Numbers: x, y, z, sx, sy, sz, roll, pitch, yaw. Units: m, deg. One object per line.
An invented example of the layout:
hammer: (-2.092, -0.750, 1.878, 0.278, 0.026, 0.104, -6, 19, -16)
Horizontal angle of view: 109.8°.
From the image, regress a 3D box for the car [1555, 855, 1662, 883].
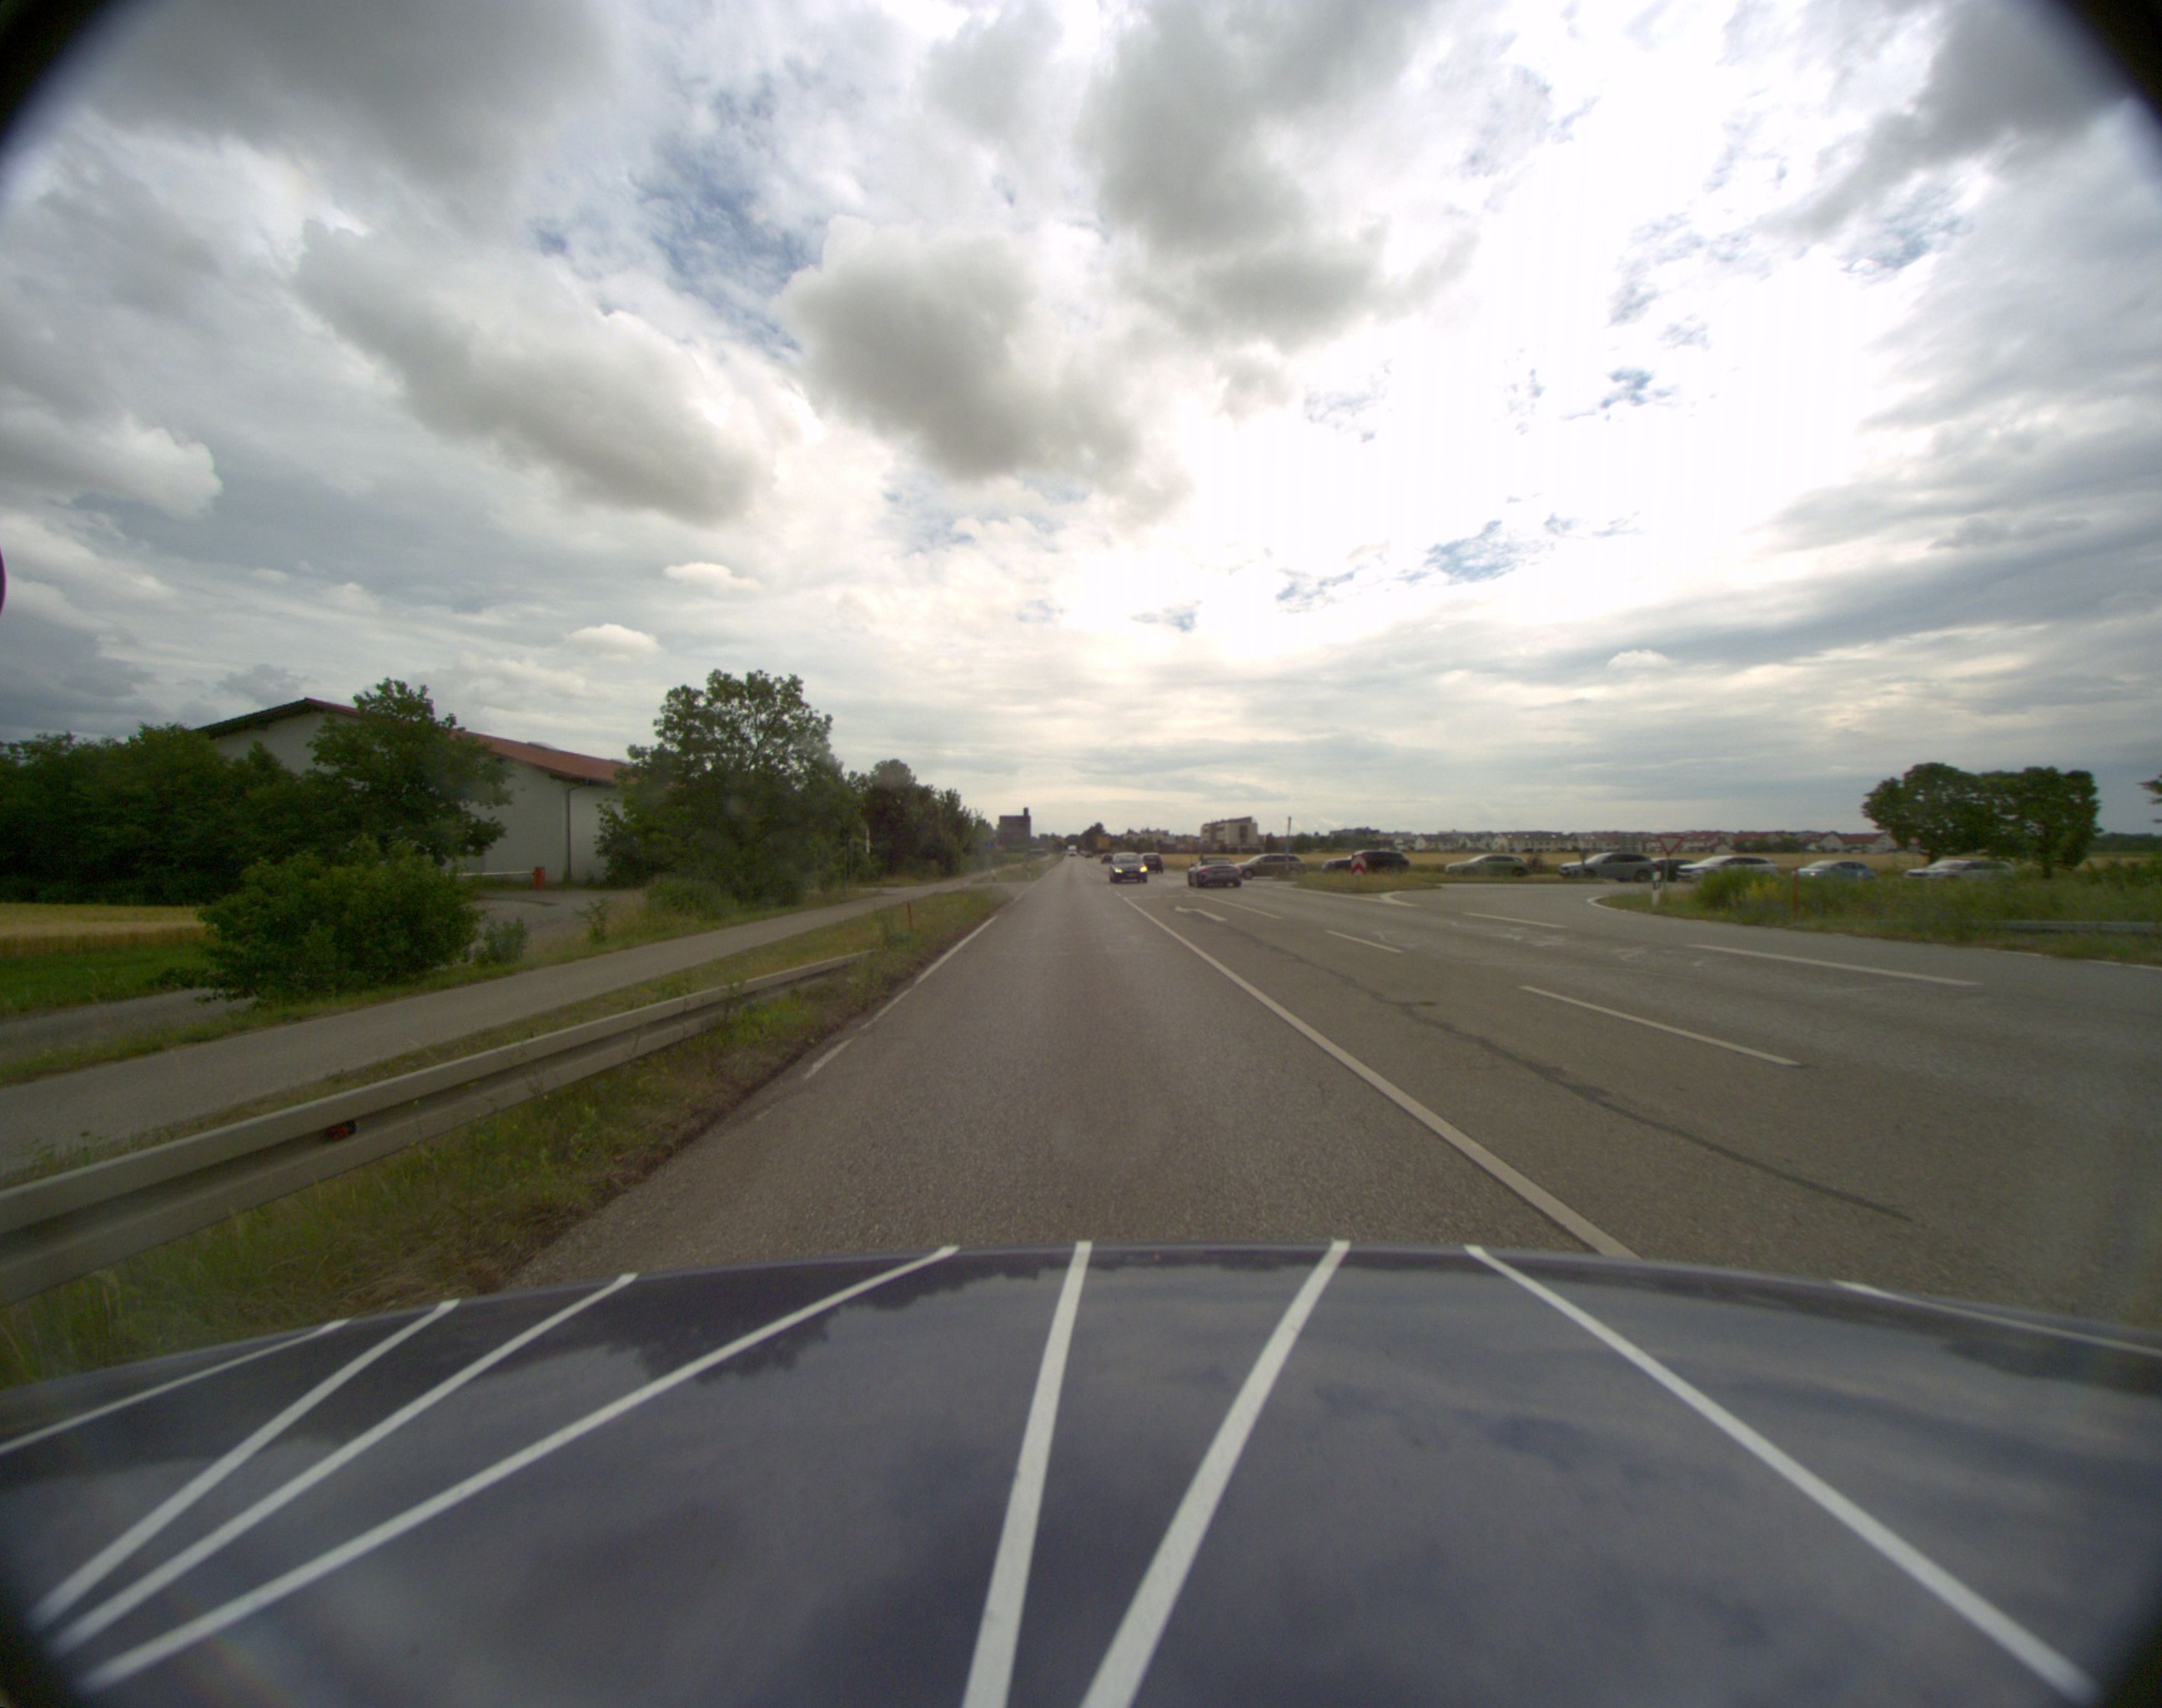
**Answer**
car: (29.722, 0.818, 42.930, 4.633, 1.508, 1.912, 0, 1, 6)

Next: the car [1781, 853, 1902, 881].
car: (41.857, 0.695, 41.909, 4.500, 1.474, 1.912, 0, 1, 6)

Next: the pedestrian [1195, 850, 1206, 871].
pedestrian: (9.403, 0.481, 59.684, 0.595, 1.596, 0.866, 2, 1, -3)

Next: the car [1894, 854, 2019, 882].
car: (47.901, 0.728, 41.625, 4.501, 1.474, 1.911, 0, 1, 3)

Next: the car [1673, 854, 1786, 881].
car: (35.910, 0.727, 42.175, 4.500, 1.474, 1.912, 0, 1, 6)

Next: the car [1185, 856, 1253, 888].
car: (6.101, 0.769, 34.187, 2.170, 1.277, 4.236, -2, 0, -1)

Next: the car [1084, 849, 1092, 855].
car: (1.701, -0.570, 180.952, 1.740, 1.450, 4.130, -1, 1, -2)

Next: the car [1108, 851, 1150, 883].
car: (2.593, 0.691, 41.950, 1.707, 1.602, 4.480, -2, 1, -3)

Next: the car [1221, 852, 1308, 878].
car: (10.422, 0.608, 43.260, 4.465, 1.416, 1.909, 0, 1, -8)

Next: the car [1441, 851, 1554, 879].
car: (23.672, 0.624, 43.336, 5.296, 1.512, 1.912, 0, 1, 6)

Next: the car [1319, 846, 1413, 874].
car: (16.298, 0.335, 43.633, 4.749, 1.523, 1.912, 0, 1, 6)

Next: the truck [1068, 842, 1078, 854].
truck: (-2.441, -1.838, 230.816, 2.814, 3.588, 11.217, 0, 0, 0)

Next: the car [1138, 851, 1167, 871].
car: (5.589, 0.561, 60.015, 1.747, 1.521, 4.198, -1, 0, -1)

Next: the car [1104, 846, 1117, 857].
car: (4.331, -0.342, 112.899, 1.683, 1.512, 4.395, -2, 1, -1)
